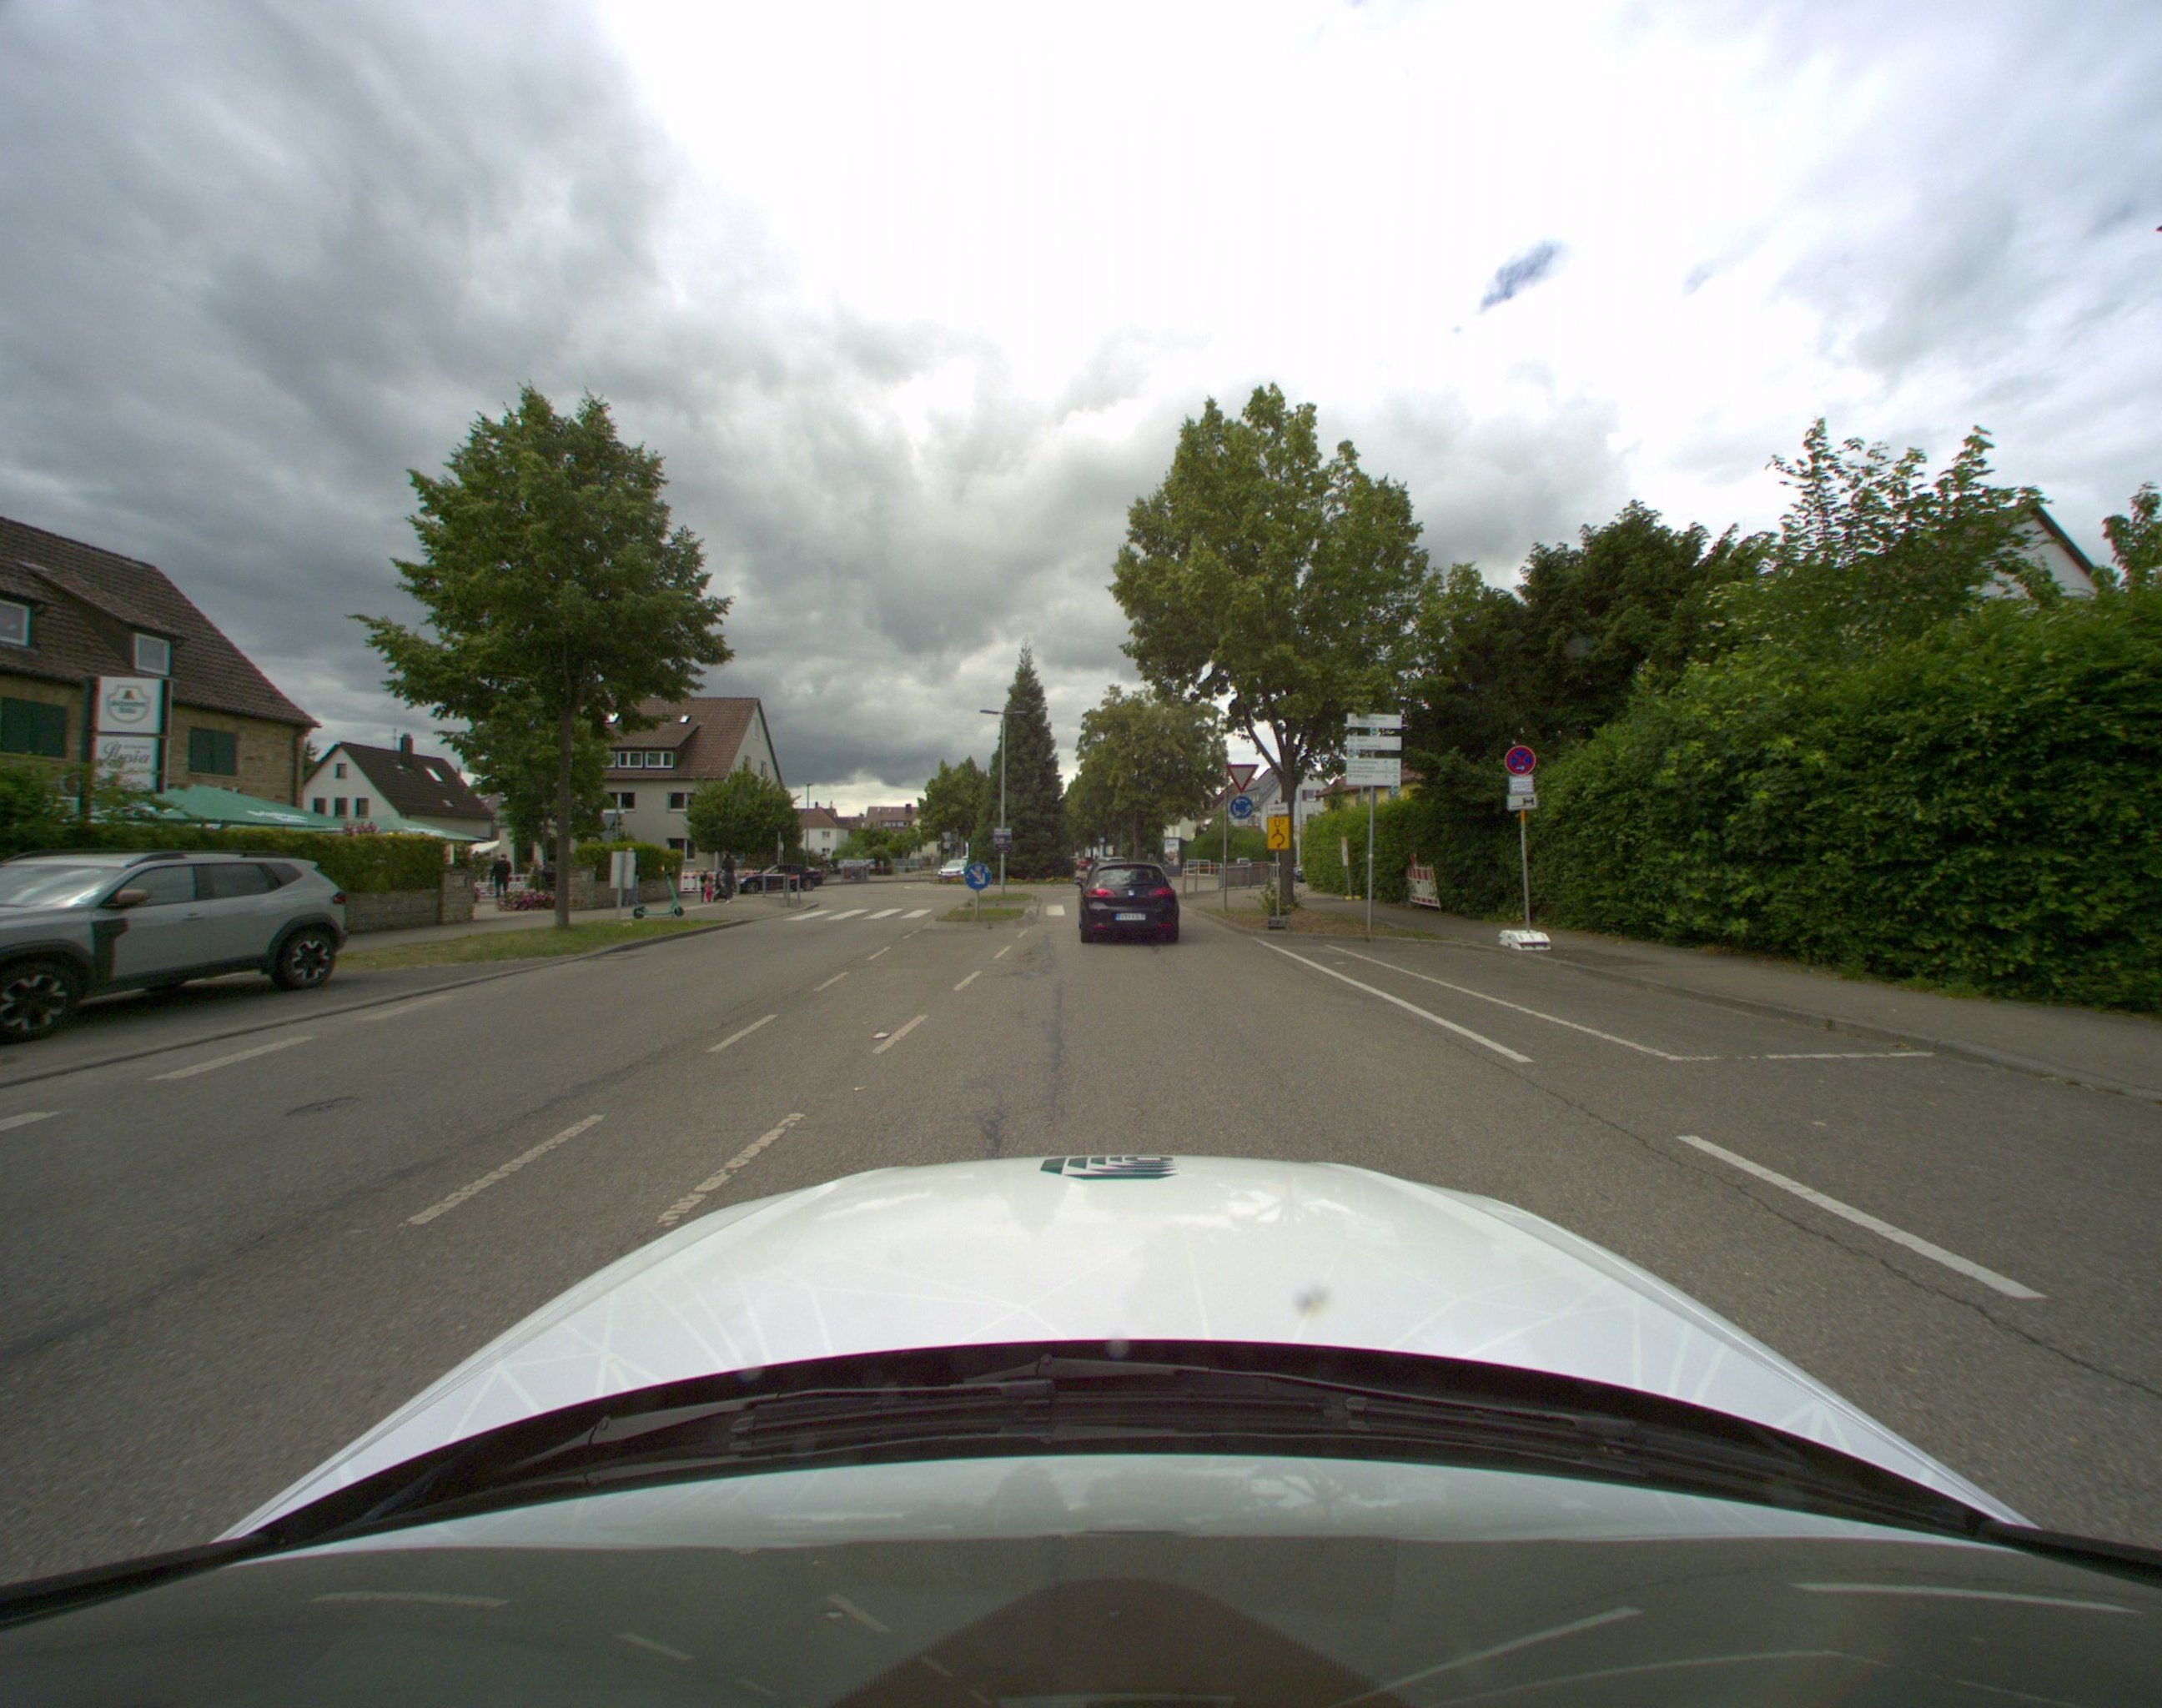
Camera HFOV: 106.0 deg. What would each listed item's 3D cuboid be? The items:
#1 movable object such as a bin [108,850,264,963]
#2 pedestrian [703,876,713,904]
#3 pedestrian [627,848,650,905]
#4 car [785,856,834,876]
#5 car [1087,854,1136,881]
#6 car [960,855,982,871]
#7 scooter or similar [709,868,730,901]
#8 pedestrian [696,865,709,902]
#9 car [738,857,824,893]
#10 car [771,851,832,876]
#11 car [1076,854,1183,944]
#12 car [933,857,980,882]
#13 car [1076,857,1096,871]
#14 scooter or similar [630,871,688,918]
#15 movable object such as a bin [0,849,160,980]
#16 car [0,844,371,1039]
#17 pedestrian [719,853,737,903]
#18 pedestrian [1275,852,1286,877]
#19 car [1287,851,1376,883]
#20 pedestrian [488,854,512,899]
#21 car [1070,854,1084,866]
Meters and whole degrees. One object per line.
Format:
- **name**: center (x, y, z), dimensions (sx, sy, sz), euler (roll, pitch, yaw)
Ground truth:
- **movable object such as a bin**: center (-13.824, 0.792, 12.631), dimensions (1.203, 1.651, 0.997), euler (2, -1, -3)
- **pedestrian**: center (-12.076, 1.171, 26.354), dimensions (0.240, 0.894, 0.257), euler (-2, 0, -34)
- **pedestrian**: center (-13.985, 0.701, 25.729), dimensions (0.543, 1.784, 0.556), euler (0, -1, -40)
- **car**: center (-19.541, 0.860, 58.754), dimensions (3.029, 1.382, 1.340), euler (-1, 0, 2)
- **car**: center (1.906, 0.841, 52.592), dimensions (1.998, 1.613, 3.978), euler (0, 0, -16)
- **car**: center (-11.494, 0.933, 85.404), dimensions (1.793, 1.601, 3.997), euler (-1, 0, -2)
- **scooter or similar**: center (-12.506, 1.063, 28.153), dimensions (0.409, 1.095, 0.959), euler (3, -1, -39)
- **pedestrian**: center (-12.898, 0.992, 27.770), dimensions (0.344, 1.245, 0.350), euler (0, 0, -34)
- **car**: center (-14.663, 1.010, 39.913), dimensions (3.642, 1.634, 1.554), euler (-1, 0, -42)
- **car**: center (-19.360, 0.650, 56.478), dimensions (3.574, 1.611, 1.601), euler (-1, 0, 2)
- **car**: center (0.801, 0.755, 15.597), dimensions (1.727, 1.486, 3.998), euler (-1, 0, -1)
- **car**: center (-8.302, 1.037, 54.793), dimensions (1.858, 1.560, 4.271), euler (-1, 0, 10)
- **car**: center (0.533, 1.034, 87.539), dimensions (1.475, 1.489, 3.369), euler (0, 0, -10)
- **scooter or similar**: center (-10.802, 1.028, 20.858), dimensions (1.292, 1.139, 0.344), euler (-1, 0, -32)
- **movable object such as a bin**: center (-13.622, 0.783, 10.956), dimensions (1.203, 1.651, 0.997), euler (2, -1, -3)
- **car**: center (-10.108, 0.743, 8.414), dimensions (1.856, 1.653, 4.290), euler (0, 0, -2)
- **pedestrian**: center (-11.971, 0.801, 27.611), dimensions (0.485, 1.669, 0.510), euler (0, -1, -35)
- **pedestrian**: center (12.494, 0.656, 50.955), dimensions (0.485, 1.533, 0.488), euler (-1, -1, 38)
- **car**: center (13.599, 0.680, 44.329), dimensions (4.384, 1.661, 1.649), euler (0, 0, -1)
- **pedestrian**: center (-19.901, 0.759, 27.890), dimensions (0.653, 1.539, 0.504), euler (0, 0, -34)
- **car**: center (-0.550, 0.771, 109.383), dimensions (1.591, 1.510, 3.596), euler (-1, 0, -3)
